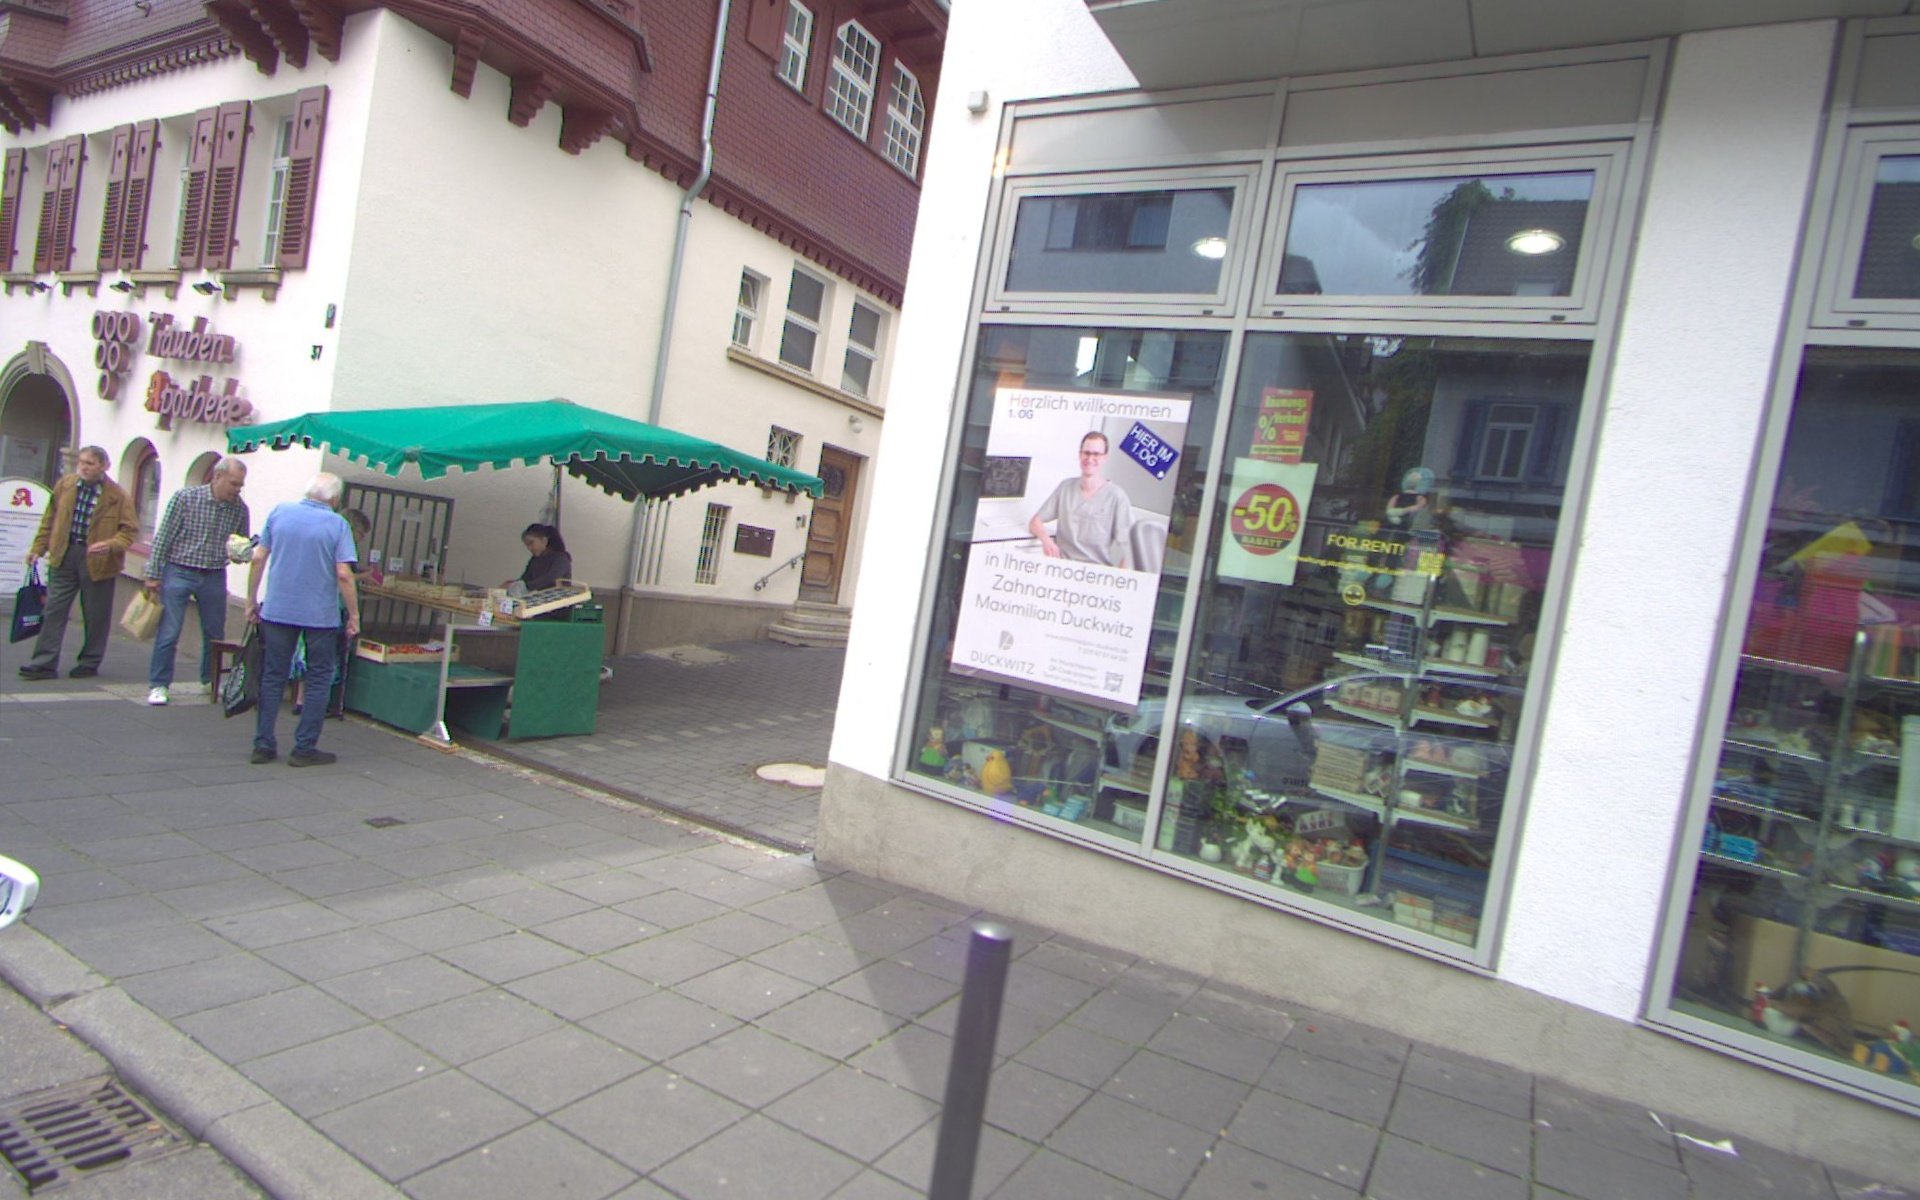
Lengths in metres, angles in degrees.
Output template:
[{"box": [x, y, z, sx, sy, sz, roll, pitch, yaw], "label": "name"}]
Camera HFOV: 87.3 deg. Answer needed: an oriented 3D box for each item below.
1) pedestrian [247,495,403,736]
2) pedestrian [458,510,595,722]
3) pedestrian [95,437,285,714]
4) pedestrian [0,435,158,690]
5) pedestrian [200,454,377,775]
[{"box": [-4.637, 0.108, 7.347, 0.692, 1.633, 0.623, 8, 1, 36], "label": "pedestrian"}, {"box": [-3.567, 0.130, 8.287, 0.692, 1.633, 0.623, 8, 1, 36], "label": "pedestrian"}, {"box": [-5.673, -0.168, 7.460, 0.769, 1.881, 0.700, 7, 1, -16], "label": "pedestrian"}, {"box": [-6.810, -0.268, 7.689, 0.665, 1.824, 0.785, 8, 1, 37], "label": "pedestrian"}, {"box": [-4.009, 0.098, 6.042, 0.696, 1.789, 0.620, 6, 1, -33], "label": "pedestrian"}]
